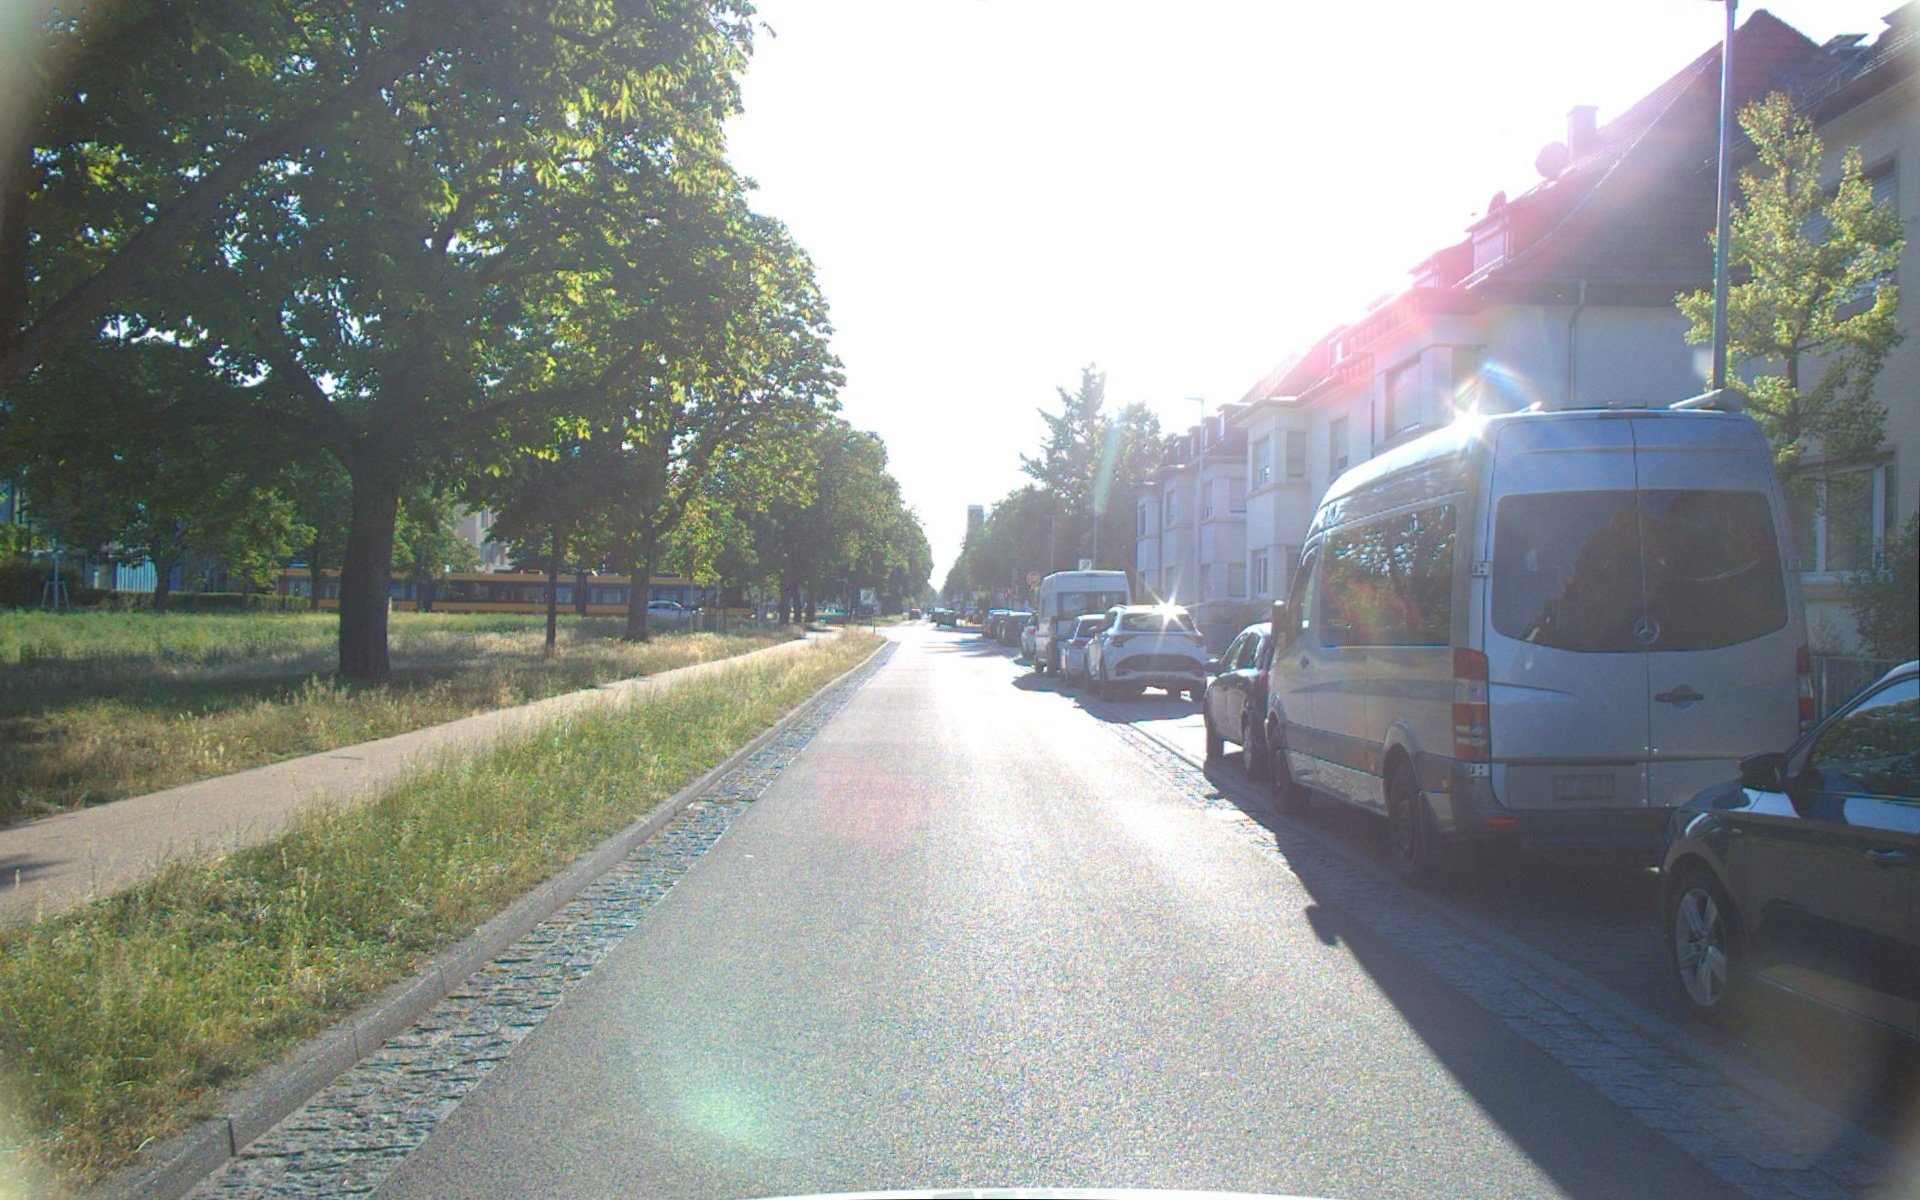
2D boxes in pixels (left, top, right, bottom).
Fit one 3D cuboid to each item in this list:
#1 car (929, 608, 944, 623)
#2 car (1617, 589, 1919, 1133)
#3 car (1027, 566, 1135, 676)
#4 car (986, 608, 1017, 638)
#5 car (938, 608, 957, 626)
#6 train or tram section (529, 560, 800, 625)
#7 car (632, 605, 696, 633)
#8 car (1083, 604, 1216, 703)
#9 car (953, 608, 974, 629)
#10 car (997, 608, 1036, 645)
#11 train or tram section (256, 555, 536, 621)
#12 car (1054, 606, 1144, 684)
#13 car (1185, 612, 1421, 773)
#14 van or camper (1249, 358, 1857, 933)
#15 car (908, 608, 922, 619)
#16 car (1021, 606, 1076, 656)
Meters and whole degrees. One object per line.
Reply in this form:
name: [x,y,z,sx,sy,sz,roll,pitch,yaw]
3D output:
car: [-2.544,1.701,181.269,1.616,1.557,3.851,0,0,0]
car: [3.668,0.765,5.044,1.630,1.621,4.085,-1,0,-1]
car: [2.960,0.502,41.573,2.084,2.577,5.185,0,0,-3]
car: [2.251,1.231,90.155,1.616,1.557,3.851,0,0,0]
car: [-1.123,1.511,147.519,1.616,1.557,3.851,0,0,0]
train or tram section: [-21.769,-0.526,123.026,19.413,4.025,3.637,2,-1,-8]
car: [-20.392,1.325,114.191,4.266,1.795,1.996,2,-1,-10]
car: [3.367,0.913,30.138,1.800,1.664,4.129,0,0,-2]
car: [0.263,1.416,129.088,1.616,1.557,3.851,0,0,0]
car: [2.472,1.160,73.302,1.616,1.557,3.851,0,0,0]
train or tram section: [-40.666,-0.817,120.136,18.717,4.025,3.636,2,-1,-8]
car: [2.928,0.923,35.485,1.616,1.557,3.851,0,0,0]
car: [3.494,0.895,17.543,1.588,1.435,3.968,-3,-1,-1]
van or camper: [3.514,0.276,11.301,1.904,2.826,5.938,2,-1,-1]
car: [-6.275,1.898,232.058,1.773,1.557,3.851,0,0,0]
car: [2.869,1.000,54.139,1.616,1.557,3.851,0,0,0]
